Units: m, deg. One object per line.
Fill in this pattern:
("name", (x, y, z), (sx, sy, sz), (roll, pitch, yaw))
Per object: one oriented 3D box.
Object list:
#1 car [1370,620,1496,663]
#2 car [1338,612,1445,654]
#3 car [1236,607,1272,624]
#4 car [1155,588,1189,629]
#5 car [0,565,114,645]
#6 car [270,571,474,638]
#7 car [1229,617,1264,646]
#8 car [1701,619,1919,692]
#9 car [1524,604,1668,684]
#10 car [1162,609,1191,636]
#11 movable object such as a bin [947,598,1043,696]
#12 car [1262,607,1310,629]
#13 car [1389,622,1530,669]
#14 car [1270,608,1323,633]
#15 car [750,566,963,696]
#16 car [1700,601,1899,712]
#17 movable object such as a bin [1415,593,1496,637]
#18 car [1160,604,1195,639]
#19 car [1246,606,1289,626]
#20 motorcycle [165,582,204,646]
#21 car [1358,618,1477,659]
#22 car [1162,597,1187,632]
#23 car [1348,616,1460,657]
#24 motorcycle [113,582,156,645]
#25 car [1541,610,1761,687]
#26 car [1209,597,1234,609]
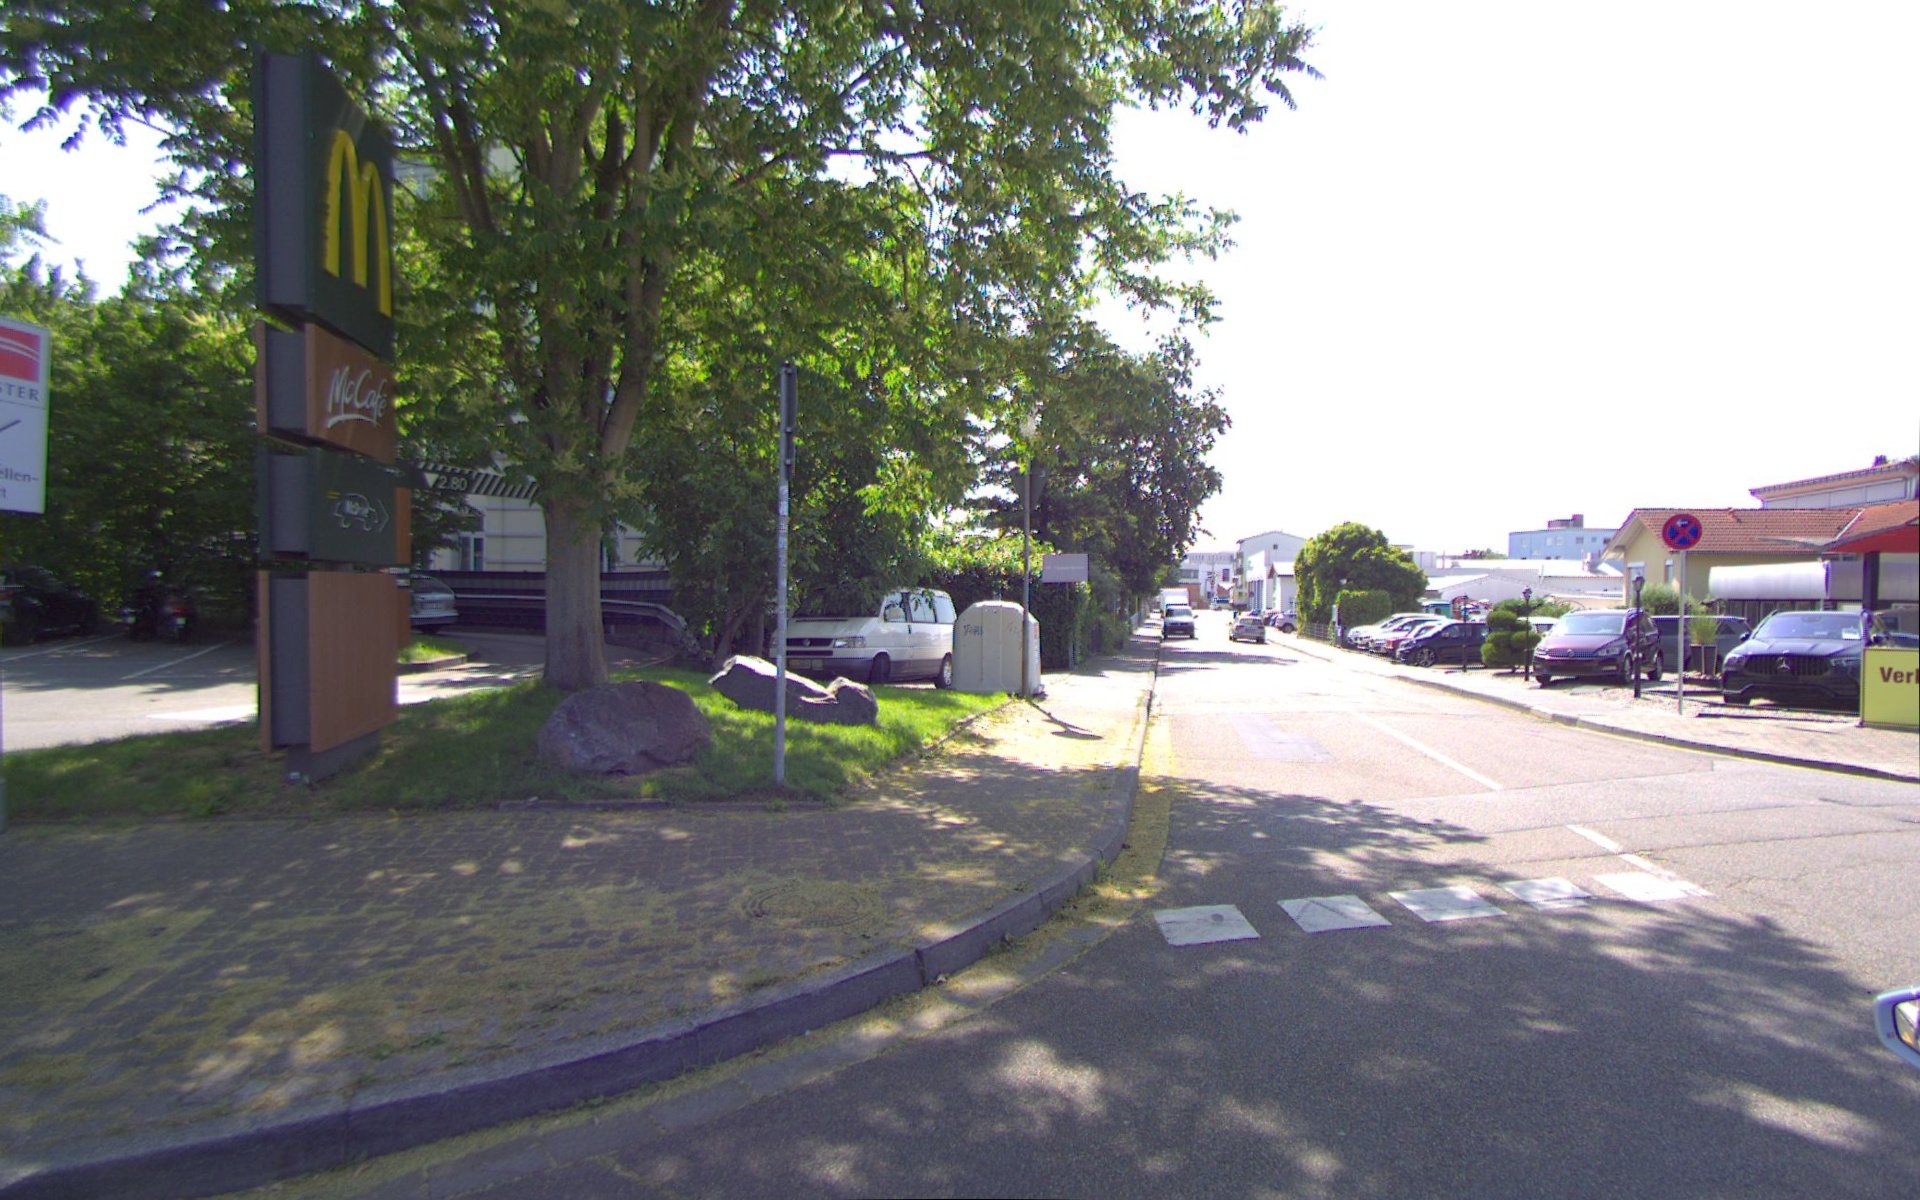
("car", (17.990, 1.547, 38.360), (3.976, 1.508, 1.799), (1, 0, 9))
("car", (19.552, 1.489, 45.656), (4.087, 1.773, 1.893), (1, 0, 9))
("car", (33.922, 1.812, 116.104), (3.794, 1.787, 1.825), (2, 0, 12))
("car", (18.575, 0.779, 88.094), (2.758, 3.361, 7.787), (1, 0, 12))
("car", (-18.531, 0.029, 19.727), (1.744, 1.406, 4.073), (1, 1, -22))
("car", (-13.542, 0.050, 23.150), (4.300, 1.423, 1.713), (1, 2, 21))
("car", (16.494, 1.779, 57.942), (1.648, 1.513, 4.609), (1, 0, 12))
("car", (20.644, 1.299, 24.017), (4.597, 1.596, 1.913), (1, 0, -5))
("car", (14.645, 0.968, 23.045), (4.284, 1.678, 1.788), (2, -2, -43))
("car", (14.316, 1.480, 66.619), (1.800, 1.714, 4.002), (1, 0, 12))
("movable object such as a bin", (0.638, 0.797, 17.153), (1.426, 1.546, 1.777), (-2, -2, 8))
("car", (27.859, 1.520, 85.953), (3.763, 1.787, 1.783), (2, 0, 12))
("car", (17.465, 1.563, 35.292), (4.049, 1.508, 1.871), (1, 0, 9))
("car", (26.778, 1.621, 80.063), (3.763, 1.787, 1.857), (2, 0, 12))
("car", (-1.613, 0.605, 17.480), (1.856, 1.945, 4.525), (-1, -3, 21))
("car", (15.019, 0.978, 17.894), (4.280, 1.729, 2.025), (3, -2, -40))
("movable object such as a bin", (34.864, 1.054, 70.778), (4.736, 2.945, 2.001), (1, 0, 15))
("car", (13.387, 1.317, 61.888), (1.999, 2.084, 4.003), (1, -1, 12))
("car", (29.810, 1.537, 97.469), (3.763, 1.787, 1.783), (2, 0, 12))
("motorcycle", (-15.231, 0.239, 19.744), (0.565, 1.147, 2.160), (0, 2, -37))
("car", (18.445, 1.536, 40.668), (4.036, 1.508, 1.871), (1, 0, 9))
("car", (16.419, 1.113, 77.039), (1.800, 2.537, 4.002), (1, 0, 12))
("car", (18.996, 1.533, 43.177), (4.041, 1.624, 1.871), (1, 0, 9))
("motorcycle", (-16.171, 0.238, 19.706), (0.565, 1.131, 2.160), (0, 2, -37))
("car", (18.963, 1.260, 27.784), (4.812, 1.867, 2.156), (1, 0, 35))
("car", (45.068, 0.466, 173.333), (3.919, 1.935, 1.815), (2, 1, 5))
